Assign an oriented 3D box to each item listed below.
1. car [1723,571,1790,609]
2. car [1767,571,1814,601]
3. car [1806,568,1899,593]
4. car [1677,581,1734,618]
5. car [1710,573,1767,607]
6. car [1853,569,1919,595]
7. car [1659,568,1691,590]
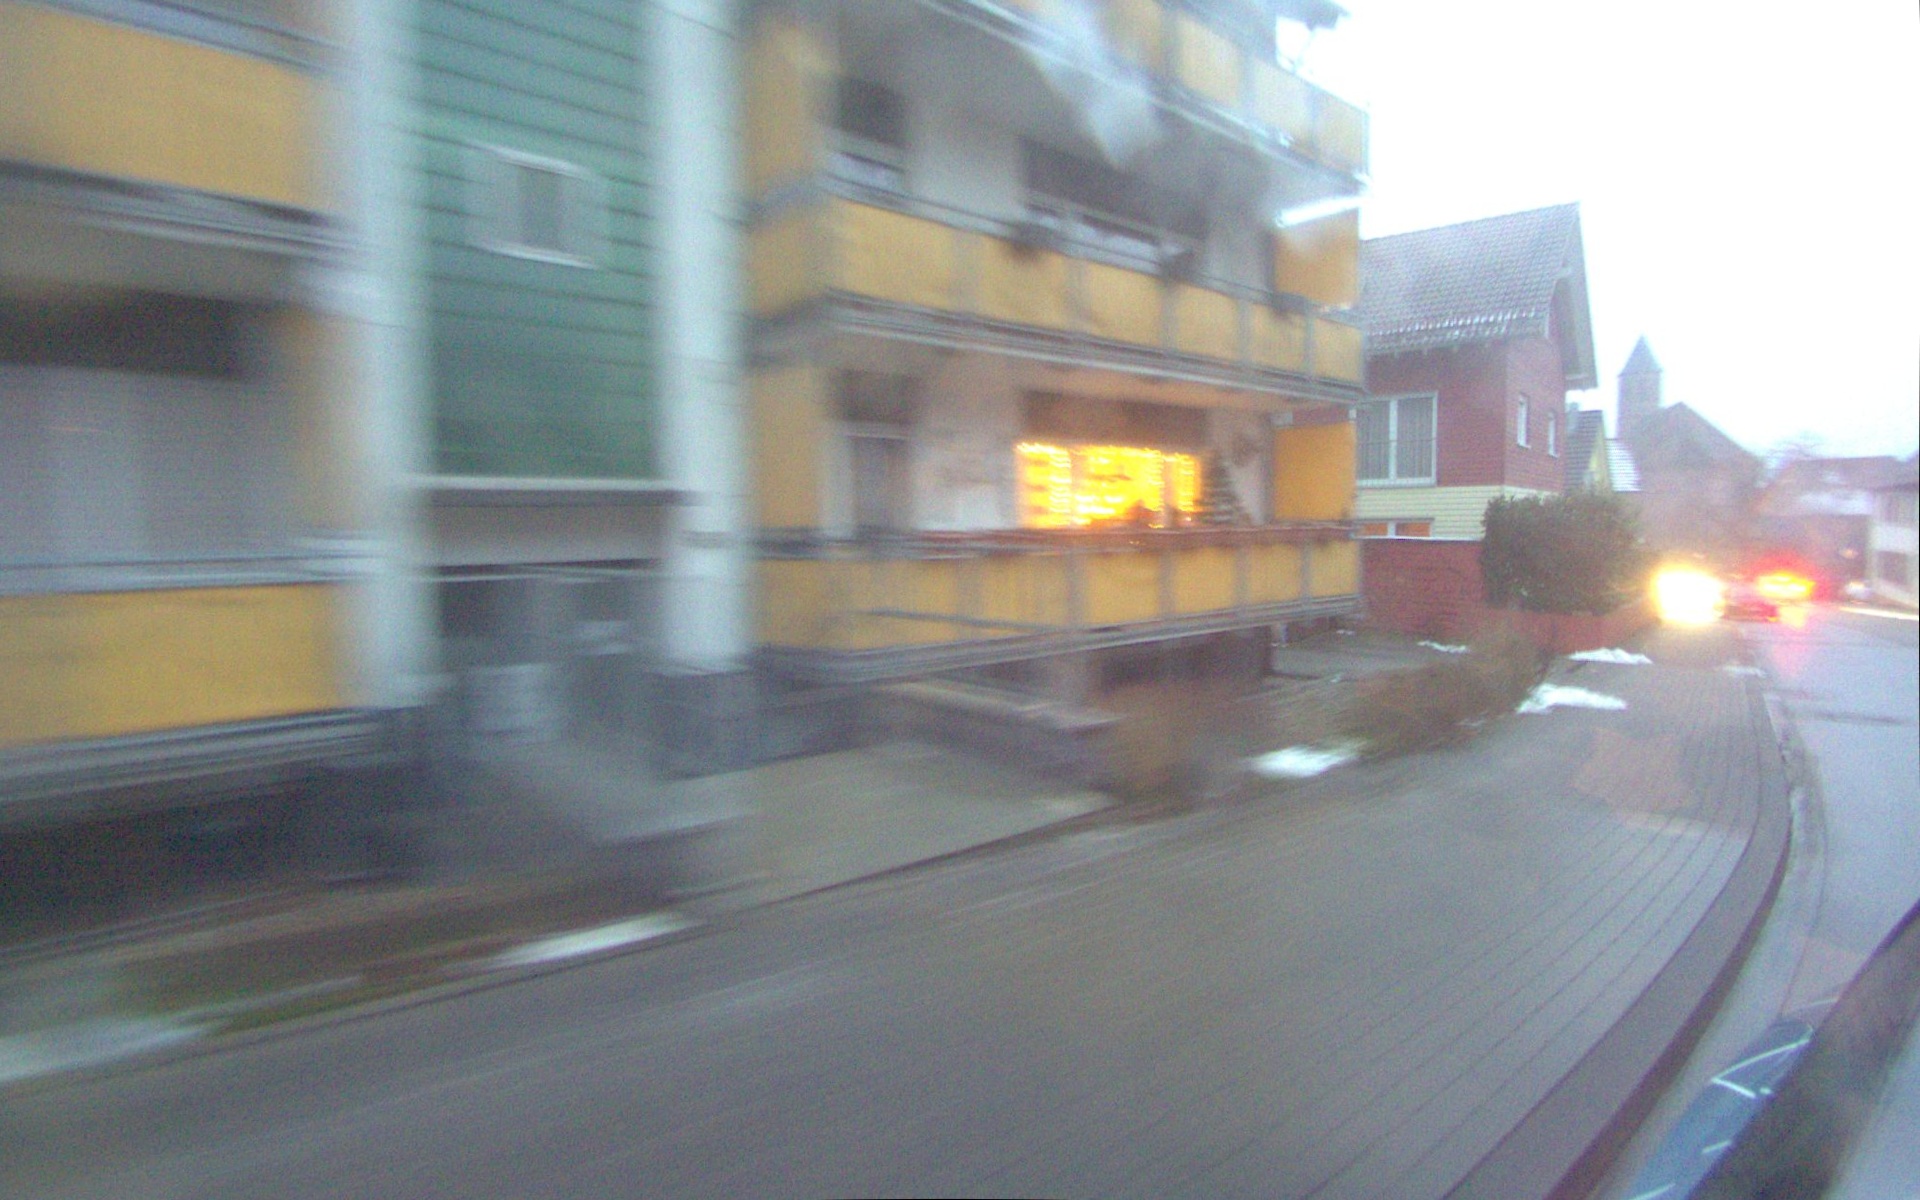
[{"bbox_3d":[33.324,-0.452,42.427,1.719,1.449,4.744,0,2,33],"label":"car"},{"bbox_3d":[47.854,-0.816,58.369,1.752,1.600,3.951,0,2,35],"label":"car"},{"bbox_3d":[59.483,-1.303,67.558,4.453,1.598,1.975,1,2,36],"label":"car"},{"bbox_3d":[44.903,-0.054,61.029,1.979,2.038,3.967,0,2,25],"label":"car"},{"bbox_3d":[36.810,-0.494,47.921,1.783,1.457,4.569,0,2,33],"label":"car"},{"bbox_3d":[55.907,-1.116,60.140,1.962,1.442,4.238,-1,2,1],"label":"car"},{"bbox_3d":[53.735,-1.585,76.077,1.753,1.516,3.954,-1,2,33],"label":"car"}]
